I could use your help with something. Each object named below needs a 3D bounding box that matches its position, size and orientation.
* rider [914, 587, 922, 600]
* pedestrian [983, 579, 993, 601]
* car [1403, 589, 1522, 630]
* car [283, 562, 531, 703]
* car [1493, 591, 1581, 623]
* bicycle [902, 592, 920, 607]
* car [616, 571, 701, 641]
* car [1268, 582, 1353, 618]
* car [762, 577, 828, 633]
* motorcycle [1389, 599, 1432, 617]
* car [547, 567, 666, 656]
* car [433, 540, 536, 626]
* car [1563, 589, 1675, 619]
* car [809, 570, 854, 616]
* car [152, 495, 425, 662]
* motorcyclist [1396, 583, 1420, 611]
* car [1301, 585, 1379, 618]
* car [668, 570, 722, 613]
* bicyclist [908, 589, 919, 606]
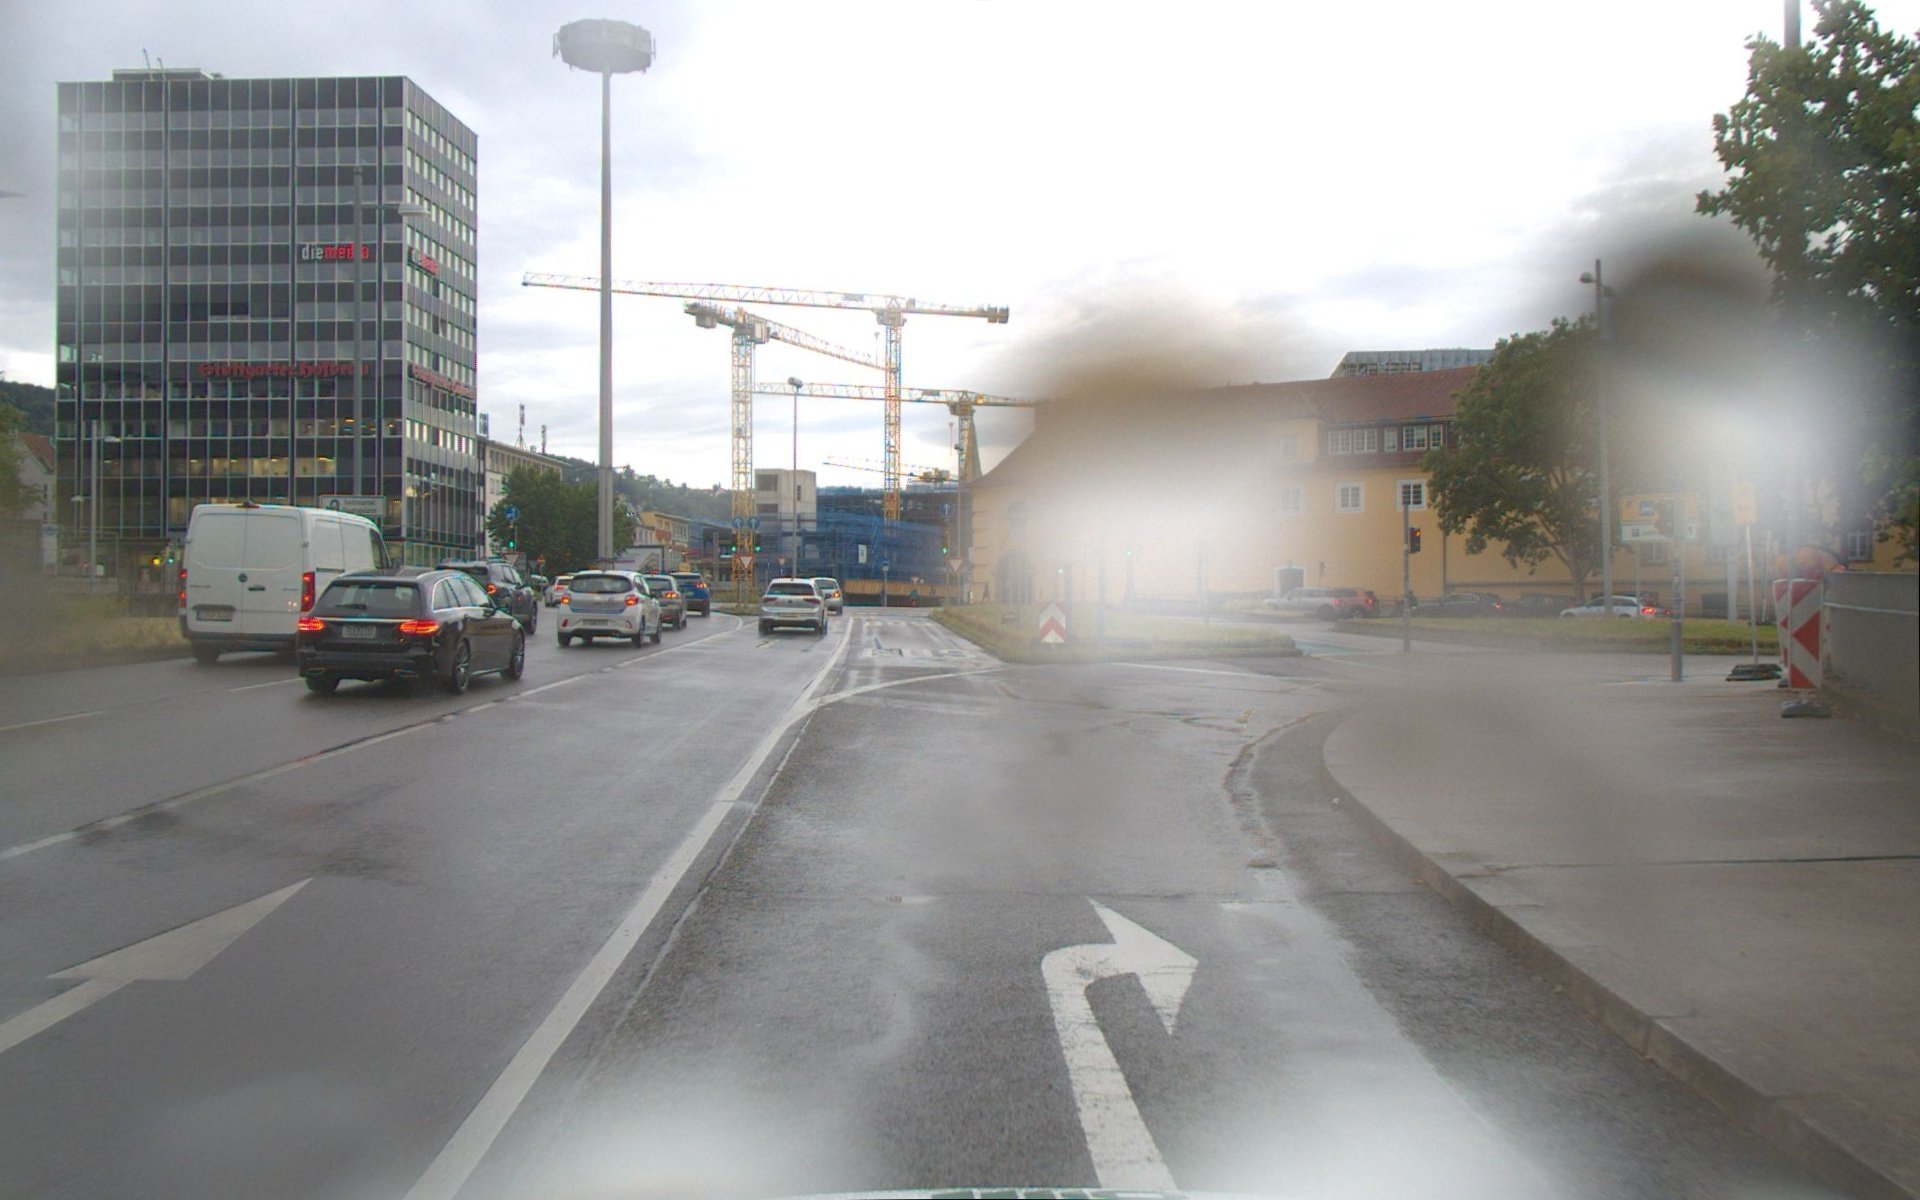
[{"bbox_3d":[-3.498,-0.550,136.386,0.606,1.057,0.533,1,-2,1],"label":"rider"},{"bbox_3d":[1.833,-0.658,109.518,0.447,1.392,0.442,-1,-3,37],"label":"pedestrian"},{"bbox_3d":[22.474,0.451,74.012,4.731,1.739,1.988,-1,-3,42],"label":"car"},{"bbox_3d":[-6.562,0.342,20.013,1.792,1.520,3.400,1,1,1],"label":"car"},{"bbox_3d":[26.379,0.332,75.640,3.533,1.360,1.572,0,-2,35],"label":"car"},{"bbox_3d":[-3.733,-0.039,126.518,0.866,1.028,1.983,2,-2,-16],"label":"bicycle"},{"bbox_3d":[-8.124,0.192,44.860,1.681,1.758,3.493,1,-2,-1],"label":"car"},{"bbox_3d":[15.380,0.008,72.563,3.334,1.508,1.834,0,-2,25],"label":"car"},{"bbox_3d":[-4.374,0.152,44.180,1.414,1.383,2.412,1,-2,2],"label":"car"},{"bbox_3d":[21.515,0.384,79.043,1.923,0.867,0.546,0,-2,21],"label":"motorcycle"},{"bbox_3d":[-7.135,0.270,33.704,1.843,1.682,3.455,1,-2,-4],"label":"car"},{"bbox_3d":[-10.336,-0.328,36.110,1.435,1.736,3.139,1,-2,-3],"label":"car"},{"bbox_3d":[27.720,0.188,69.710,1.523,1.160,4.327,2,-2,-33],"label":"car"},{"bbox_3d":[-5.221,-0.316,66.970,1.635,1.772,3.282,2,1,-7],"label":"car"},{"bbox_3d":[-10.442,-0.234,26.233,2.246,2.355,5.004,1,-2,-1],"label":"car"},{"bbox_3d":[21.376,-0.158,78.956,1.053,1.295,0.692,0,-2,20],"label":"motorcyclist"},{"bbox_3d":[17.847,0.077,77.708,3.330,1.498,1.652,0,-2,23],"label":"car"},{"bbox_3d":[-9.480,-0.284,59.281,1.463,1.393,3.032,1,-2,-1],"label":"car"},{"bbox_3d":[-3.532,-0.184,126.127,0.692,1.298,0.632,2,-2,-17],"label":"bicyclist"}]
